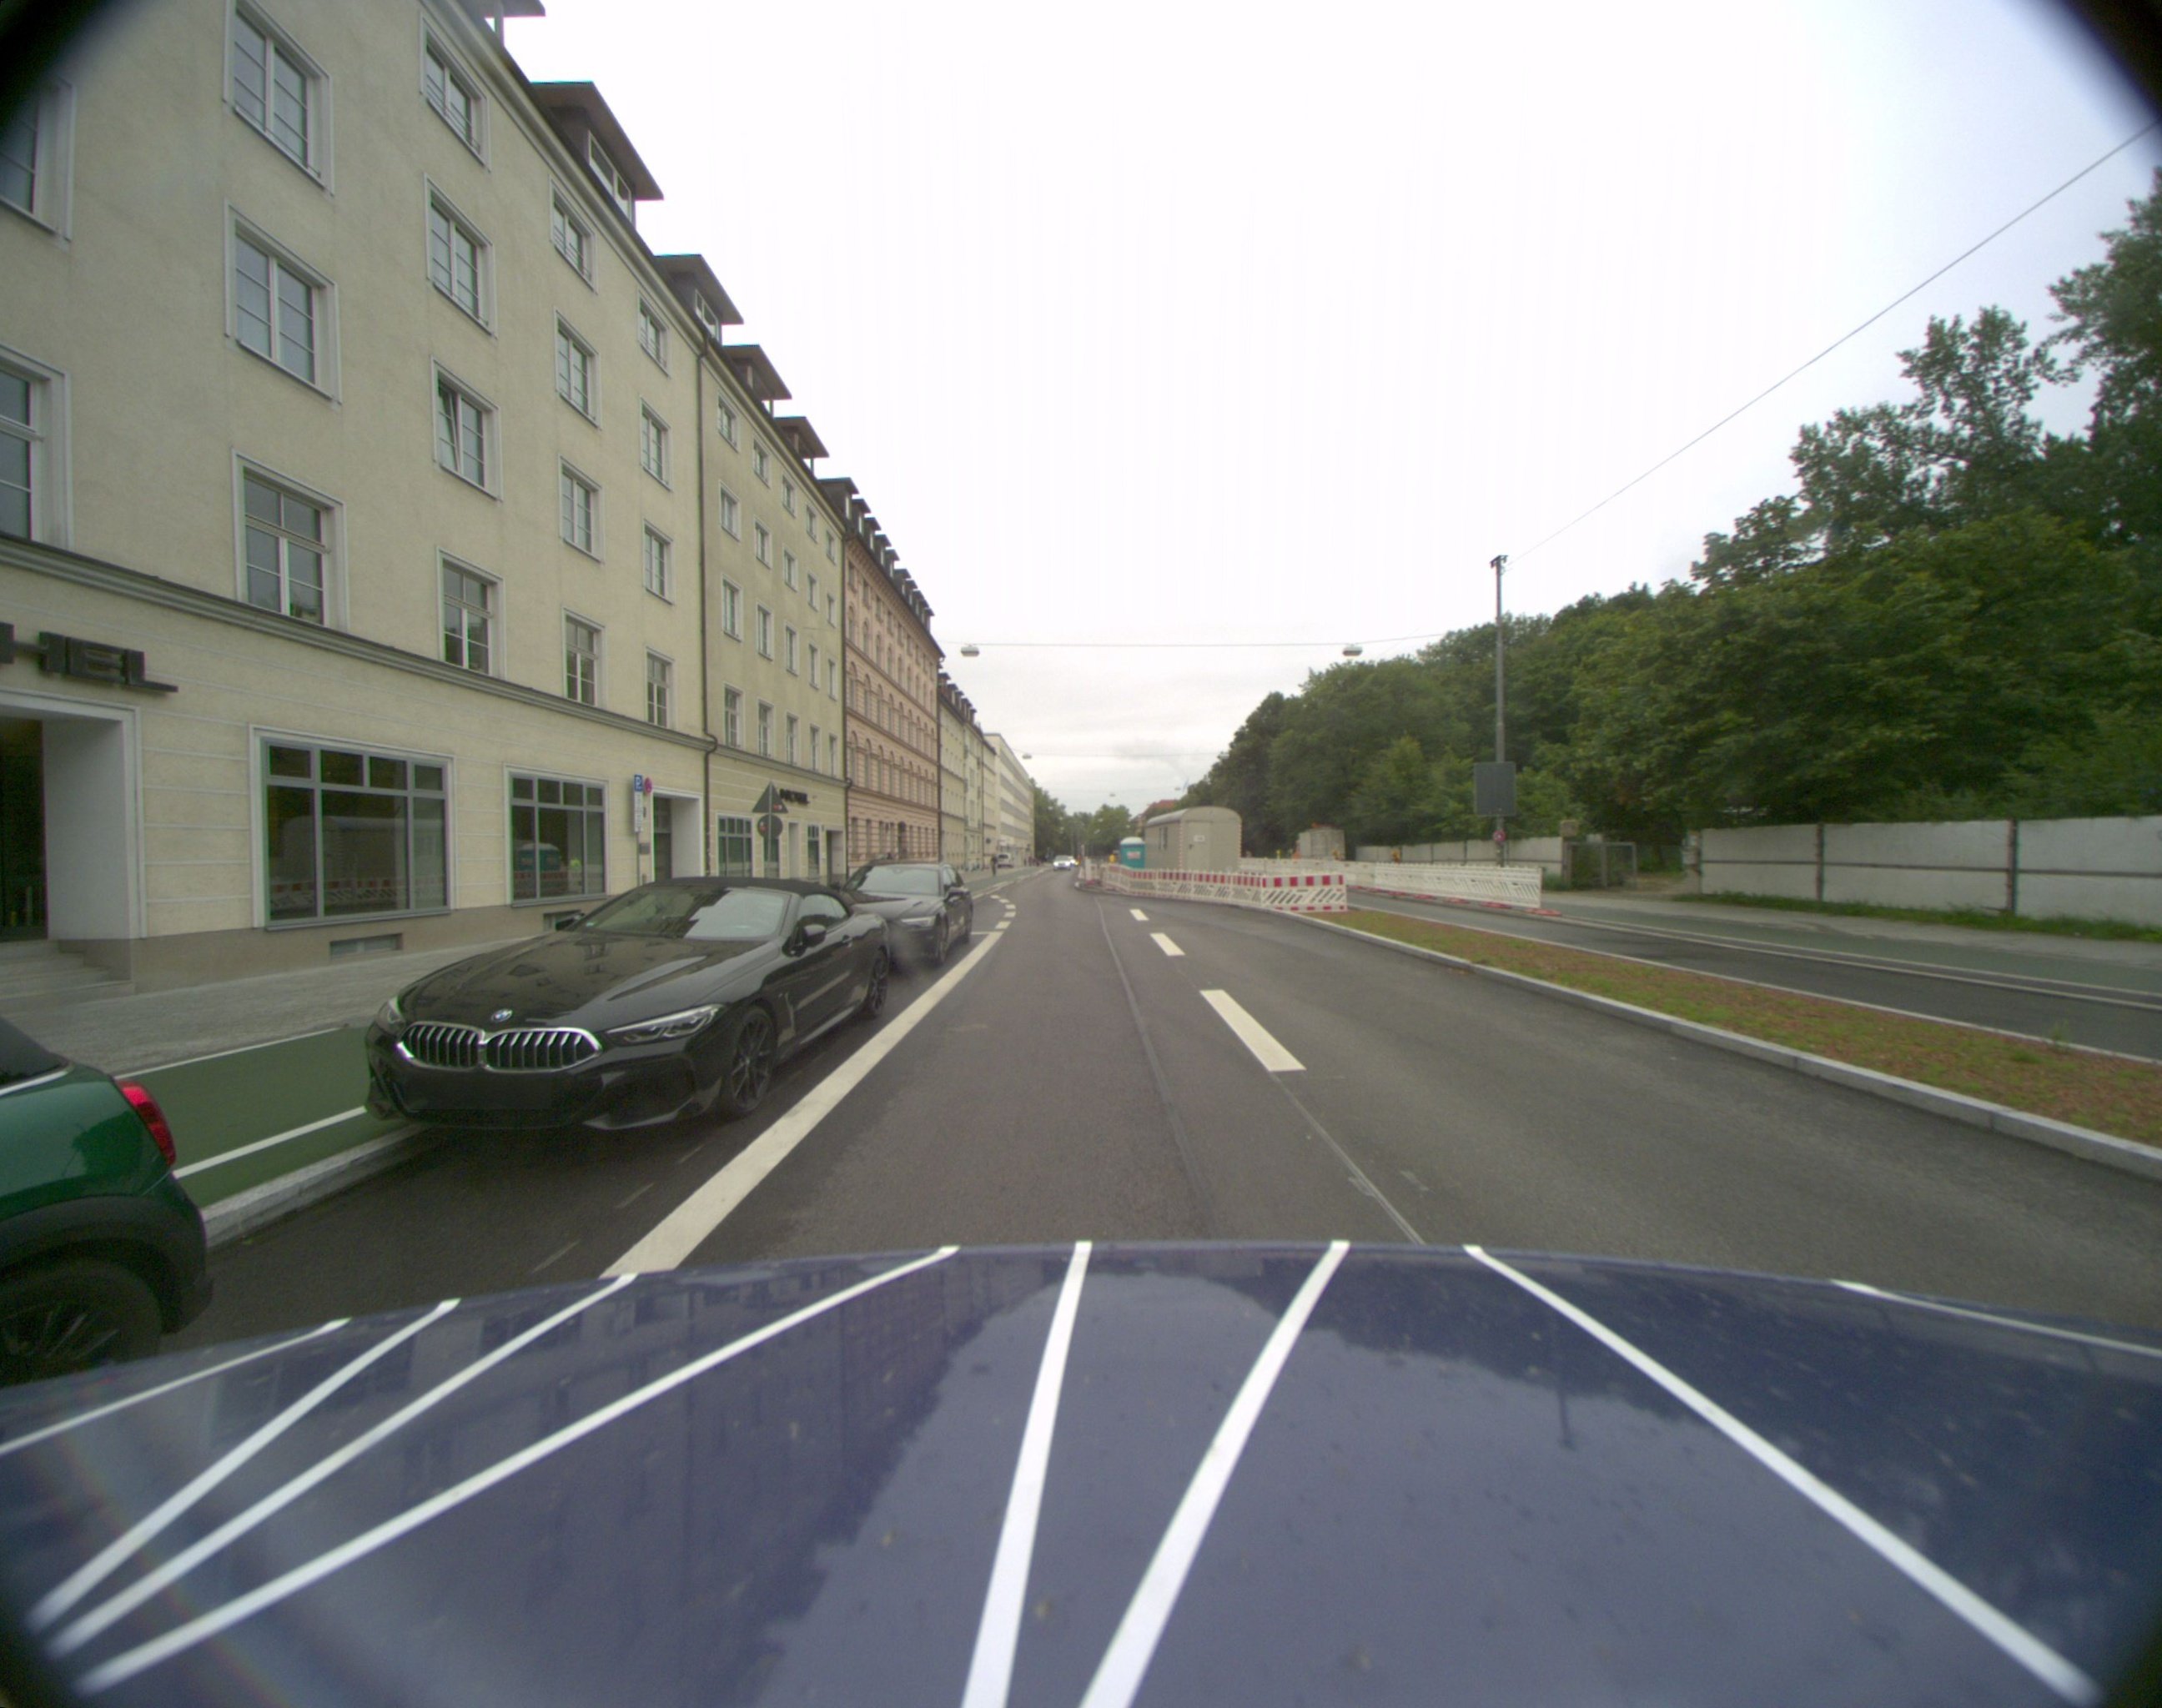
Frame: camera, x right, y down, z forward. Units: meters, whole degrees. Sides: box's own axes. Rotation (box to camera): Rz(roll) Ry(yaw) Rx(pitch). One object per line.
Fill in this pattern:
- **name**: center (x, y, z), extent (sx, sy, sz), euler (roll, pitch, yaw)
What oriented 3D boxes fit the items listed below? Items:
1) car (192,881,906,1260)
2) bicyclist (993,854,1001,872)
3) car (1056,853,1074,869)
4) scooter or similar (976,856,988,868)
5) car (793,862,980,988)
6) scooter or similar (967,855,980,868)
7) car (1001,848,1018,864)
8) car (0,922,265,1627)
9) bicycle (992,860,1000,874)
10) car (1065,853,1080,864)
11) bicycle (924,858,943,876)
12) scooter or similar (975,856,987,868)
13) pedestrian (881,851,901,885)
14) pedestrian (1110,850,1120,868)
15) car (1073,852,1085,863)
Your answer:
- **car**: center (-2.850, 1.030, 5.643), extent (1.830, 1.399, 4.719), euler (-2, 0, 2)
- **bicyclist**: center (-6.627, 0.711, 59.855), extent (0.632, 1.459, 0.652), euler (-1, 1, -6)
- **car**: center (-1.642, 0.687, 76.834), extent (1.759, 1.461, 3.999), euler (-2, 0, -2)
- **scooter or similar**: center (-9.815, 0.776, 75.411), extent (1.078, 1.185, 0.453), euler (-1, 1, -29)
- **car**: center (-2.792, 0.935, 11.970), extent (1.813, 1.472, 4.461), euler (3, 0, -1)
- **scooter or similar**: center (-9.985, 0.707, 70.653), extent (0.552, 1.238, 1.079), euler (0, 1, 35)
- **car**: center (-8.753, 0.228, 93.074), extent (1.766, 1.821, 3.999), euler (-1, 0, 0)
- **car**: center (-3.294, 0.991, 0.305), extent (1.679, 1.512, 3.829), euler (-2, 0, 2)
- **bicycle**: center (-6.692, 0.996, 59.835), extent (0.632, 1.031, 2.016), euler (-1, 0, -6)
- **car**: center (-1.126, 0.596, 101.627), extent (1.759, 1.461, 3.998), euler (-2, 0, -4)
- **bicycle**: center (-10.075, 0.899, 51.810), extent (0.556, 1.170, 1.727), euler (0, 0, 15)
- **scooter or similar**: center (-10.079, 0.787, 76.747), extent (1.079, 1.185, 0.436), euler (-1, 1, -40)
- **pedestrian**: center (-9.833, 0.710, 39.409), extent (0.795, 1.735, 0.833), euler (-1, 1, 1)
- **pedestrian**: center (3.477, 0.469, 78.078), extent (0.861, 1.826, 0.874), euler (-1, 1, -11)
- **car**: center (-0.371, 0.664, 145.061), extent (1.998, 2.002, 3.999), euler (-3, 1, 1)
